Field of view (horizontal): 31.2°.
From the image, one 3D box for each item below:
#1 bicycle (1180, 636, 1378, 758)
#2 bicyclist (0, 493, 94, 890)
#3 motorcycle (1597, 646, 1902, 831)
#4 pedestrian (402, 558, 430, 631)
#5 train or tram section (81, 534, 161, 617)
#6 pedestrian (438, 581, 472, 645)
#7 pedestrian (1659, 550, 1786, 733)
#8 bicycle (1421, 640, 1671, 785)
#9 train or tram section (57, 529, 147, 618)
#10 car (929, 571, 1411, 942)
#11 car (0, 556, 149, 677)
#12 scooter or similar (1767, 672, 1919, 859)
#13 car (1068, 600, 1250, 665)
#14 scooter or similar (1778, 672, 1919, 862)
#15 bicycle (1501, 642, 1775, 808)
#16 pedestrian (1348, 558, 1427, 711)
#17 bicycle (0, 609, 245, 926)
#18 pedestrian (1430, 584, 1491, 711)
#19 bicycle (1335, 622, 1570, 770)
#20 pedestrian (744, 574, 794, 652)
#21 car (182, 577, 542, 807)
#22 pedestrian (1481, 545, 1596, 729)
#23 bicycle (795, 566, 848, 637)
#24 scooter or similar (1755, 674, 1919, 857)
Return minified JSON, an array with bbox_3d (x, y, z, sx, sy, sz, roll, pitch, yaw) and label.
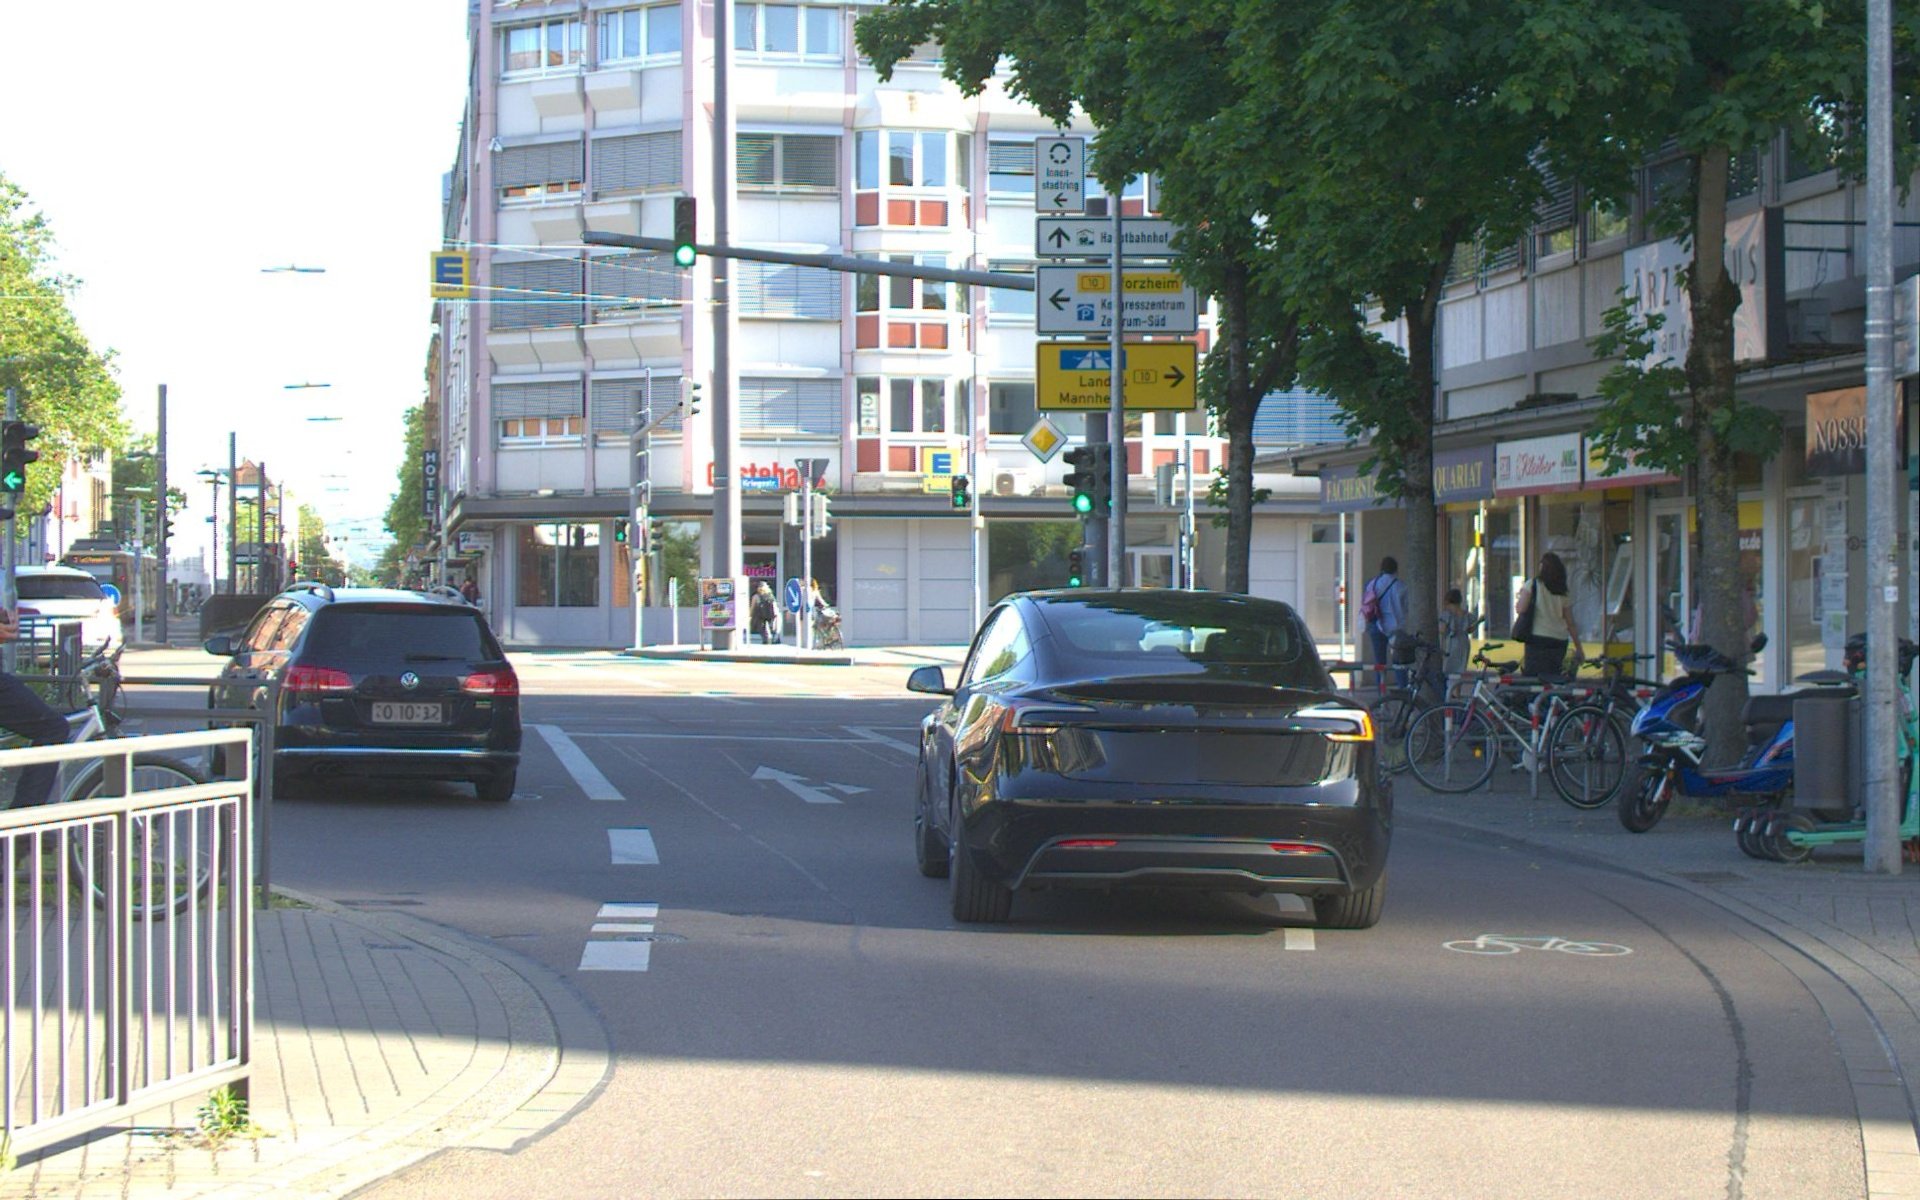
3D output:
[{"bbox_3d":[3.203,0.968,34.530,1.889,1.152,0.480,-2,0,-6],"label":"bicycle"},{"bbox_3d":[-3.813,0.349,13.401,0.681,1.518,0.635,1,0,-31],"label":"bicyclist"},{"bbox_3d":[4.924,0.860,21.466,1.786,1.126,0.504,1,0,-7],"label":"motorcycle"},{"bbox_3d":[-13.468,-0.135,85.094,0.626,1.776,0.918,1,0,-11],"label":"pedestrian"},{"bbox_3d":[-37.265,-1.051,152.989,2.713,3.534,10.171,1,0,-10],"label":"train or tram section"},{"bbox_3d":[-13.930,0.346,94.828,0.914,1.748,0.839,1,0,-8],"label":"pedestrian"},{"bbox_3d":[6.763,0.364,30.515,0.843,1.597,0.880,1,0,-7],"label":"pedestrian"},{"bbox_3d":[4.343,0.830,25.508,1.767,1.053,0.458,1,0,-2],"label":"bicycle"},{"bbox_3d":[-35.621,-1.046,143.011,2.728,3.530,10.089,1,0,-9],"label":"train or tram section"},{"bbox_3d":[0.815,0.652,15.549,1.790,1.446,3.940,1,-1,-2],"label":"car"},{"bbox_3d":[-12.883,0.220,48.201,1.839,1.629,3.486,1,0,-34],"label":"car"},{"bbox_3d":[5.023,0.926,19.291,0.956,1.035,0.160,0,0,-4],"label":"scooter or similar"},{"bbox_3d":[4.556,0.755,78.965,3.839,1.427,1.804,0,-2,-12],"label":"car"},{"bbox_3d":[5.040,0.924,19.093,0.963,1.039,0.160,0,0,-4],"label":"scooter or similar"},{"bbox_3d":[4.629,0.842,23.460,1.849,1.052,0.399,-1,0,-18],"label":"bicycle"},{"bbox_3d":[4.865,0.391,39.168,0.843,1.715,0.880,0,0,5],"label":"pedestrian"},{"bbox_3d":[-3.781,0.639,13.415,1.820,1.208,0.642,1,0,-31],"label":"bicycle"},{"bbox_3d":[5.671,0.536,38.932,0.645,1.417,0.621,0,0,11],"label":"pedestrian"},{"bbox_3d":[3.941,0.759,27.493,1.809,1.148,0.435,0,0,-11],"label":"bicycle"},{"bbox_3d":[-3.983,0.268,71.612,0.779,1.571,0.868,1,1,-22],"label":"pedestrian"},{"bbox_3d":[-4.327,0.576,24.319,1.764,1.439,4.530,0,1,-20],"label":"car"},{"bbox_3d":[5.458,0.347,32.458,0.843,1.701,0.880,1,0,-7],"label":"pedestrian"},{"bbox_3d":[-2.920,0.026,72.443,0.582,1.458,1.686,0,0,-22],"label":"bicycle"},{"bbox_3d":[5.005,0.936,19.490,0.963,1.023,0.160,0,0,-4],"label":"scooter or similar"}]
